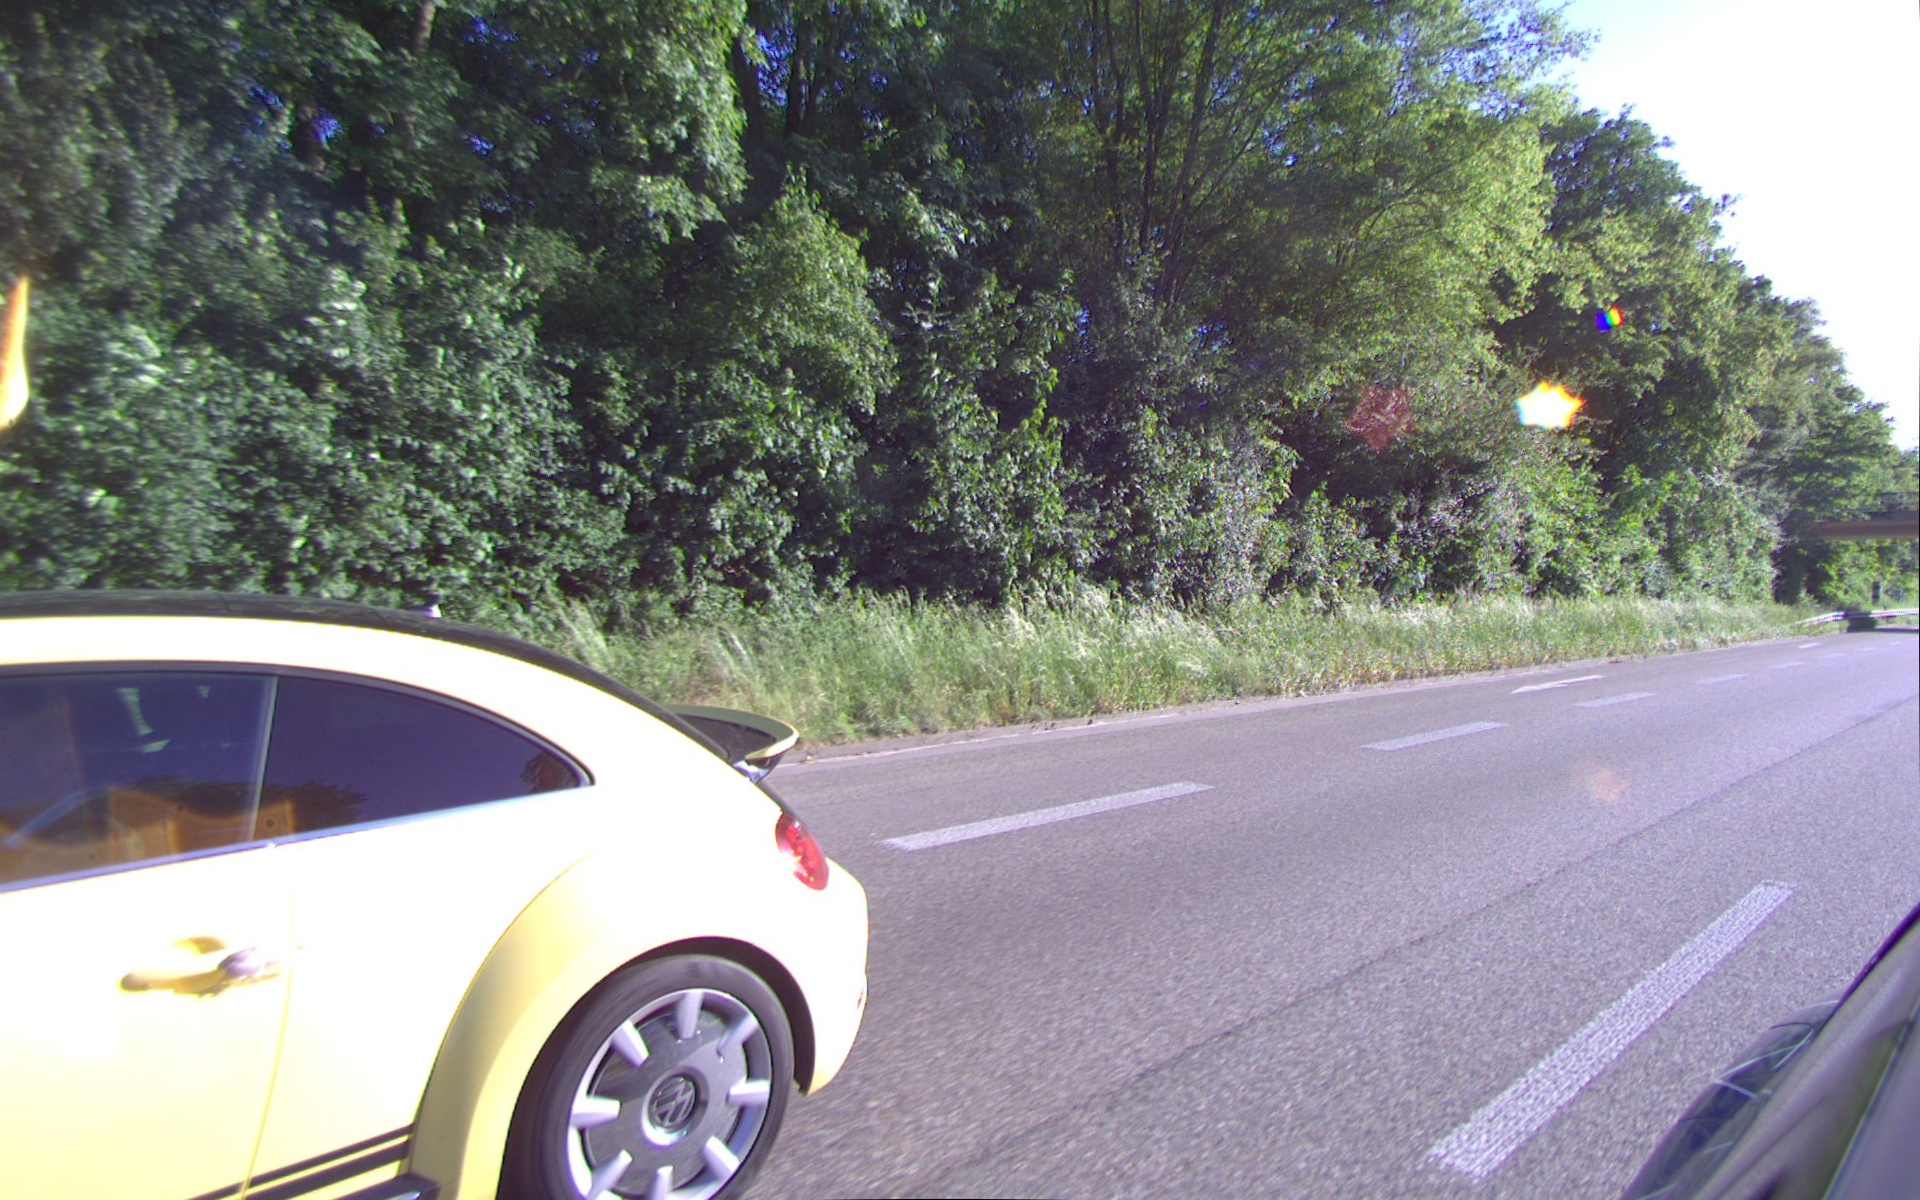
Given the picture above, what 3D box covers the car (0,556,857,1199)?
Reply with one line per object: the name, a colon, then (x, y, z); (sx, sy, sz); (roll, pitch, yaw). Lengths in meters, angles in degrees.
car: (-2.468, 0.666, 1.847); (4.281, 1.480, 1.882); (-1, 1, -42)
